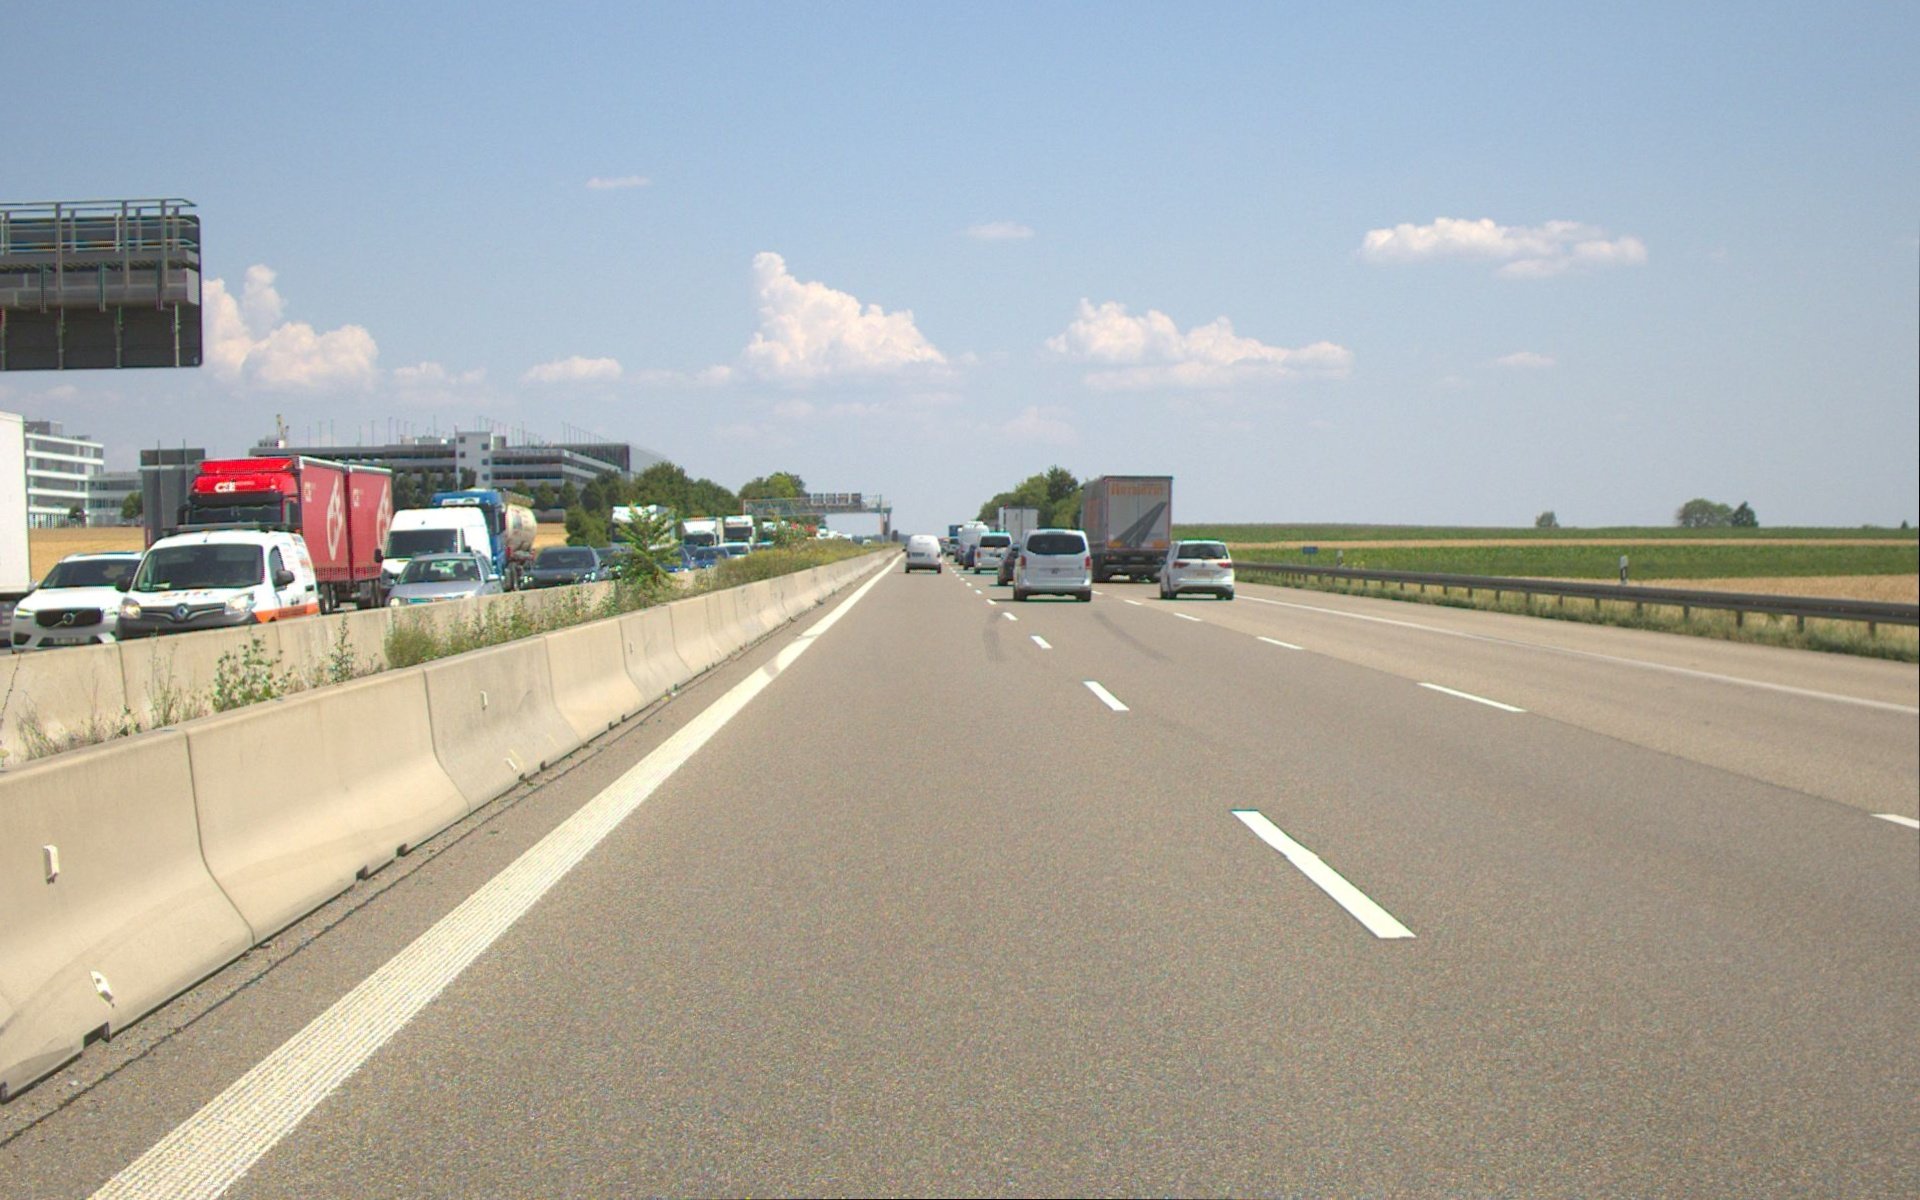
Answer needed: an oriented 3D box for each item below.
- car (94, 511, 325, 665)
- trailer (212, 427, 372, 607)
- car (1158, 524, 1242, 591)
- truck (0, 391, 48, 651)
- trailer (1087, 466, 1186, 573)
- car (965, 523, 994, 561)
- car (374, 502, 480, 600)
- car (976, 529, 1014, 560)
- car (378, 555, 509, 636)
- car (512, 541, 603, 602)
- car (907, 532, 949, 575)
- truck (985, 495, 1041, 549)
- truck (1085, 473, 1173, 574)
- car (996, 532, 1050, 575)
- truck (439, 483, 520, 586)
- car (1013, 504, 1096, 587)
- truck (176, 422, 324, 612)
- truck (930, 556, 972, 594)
[{"bbox_3d":[-9.020,-0.188,41.686,1.816,1.747,4.994,0,1,-1],"label":"car"},{"bbox_3d":[-17.778,-2.194,92.051,2.776,4.582,8.603,0,1,-1],"label":"trailer"},{"bbox_3d":[6.582,-1.138,94.477,1.993,1.788,4.000,0,0,-1],"label":"car"},{"bbox_3d":[-16.732,-1.147,51.215,2.950,4.143,12.868,-2,1,-1],"label":"truck"},{"bbox_3d":[6.808,-3.056,133.833,3.277,3.953,9.113,0,0,-1],"label":"trailer"},{"bbox_3d":[1.234,-3.730,221.347,1.773,2.384,4.000,0,0,-1],"label":"car"},{"bbox_3d":[-13.157,-1.224,85.201,1.859,2.328,5.708,0,1,-1],"label":"car"},{"bbox_3d":[1.681,-2.688,167.049,1.773,1.442,4.000,0,0,-1],"label":"car"},{"bbox_3d":[-9.003,-0.098,60.151,1.816,1.345,3.774,0,1,-1],"label":"car"},{"bbox_3d":[-9.131,-0.668,78.241,1.718,1.345,3.774,0,1,-1],"label":"car"},{"bbox_3d":[-1.546,-2.245,167.160,1.993,2.007,4.000,0,0,-1],"label":"car"},{"bbox_3d":[3.917,-5.795,256.426,3.815,3.891,9.581,-1,1,-1],"label":"truck"},{"bbox_3d":[6.758,-3.049,138.110,3.271,3.953,4.912,0,0,-1],"label":"truck"},{"bbox_3d":[2.178,-1.616,120.404,1.773,1.442,4.000,0,0,-1],"label":"car"},{"bbox_3d":[-17.338,-2.367,124.350,2.109,3.588,7.122,0,1,-1],"label":"truck"},{"bbox_3d":[2.429,-1.392,89.268,1.993,2.112,4.000,0,0,-1],"label":"car"},{"bbox_3d":[-17.612,-2.065,85.548,2.776,4.582,4.724,0,1,-1],"label":"truck"},{"bbox_3d":[-0.505,-1.399,188.320,2.211,2.007,4.972,-1,1,-1],"label":"truck"}]
